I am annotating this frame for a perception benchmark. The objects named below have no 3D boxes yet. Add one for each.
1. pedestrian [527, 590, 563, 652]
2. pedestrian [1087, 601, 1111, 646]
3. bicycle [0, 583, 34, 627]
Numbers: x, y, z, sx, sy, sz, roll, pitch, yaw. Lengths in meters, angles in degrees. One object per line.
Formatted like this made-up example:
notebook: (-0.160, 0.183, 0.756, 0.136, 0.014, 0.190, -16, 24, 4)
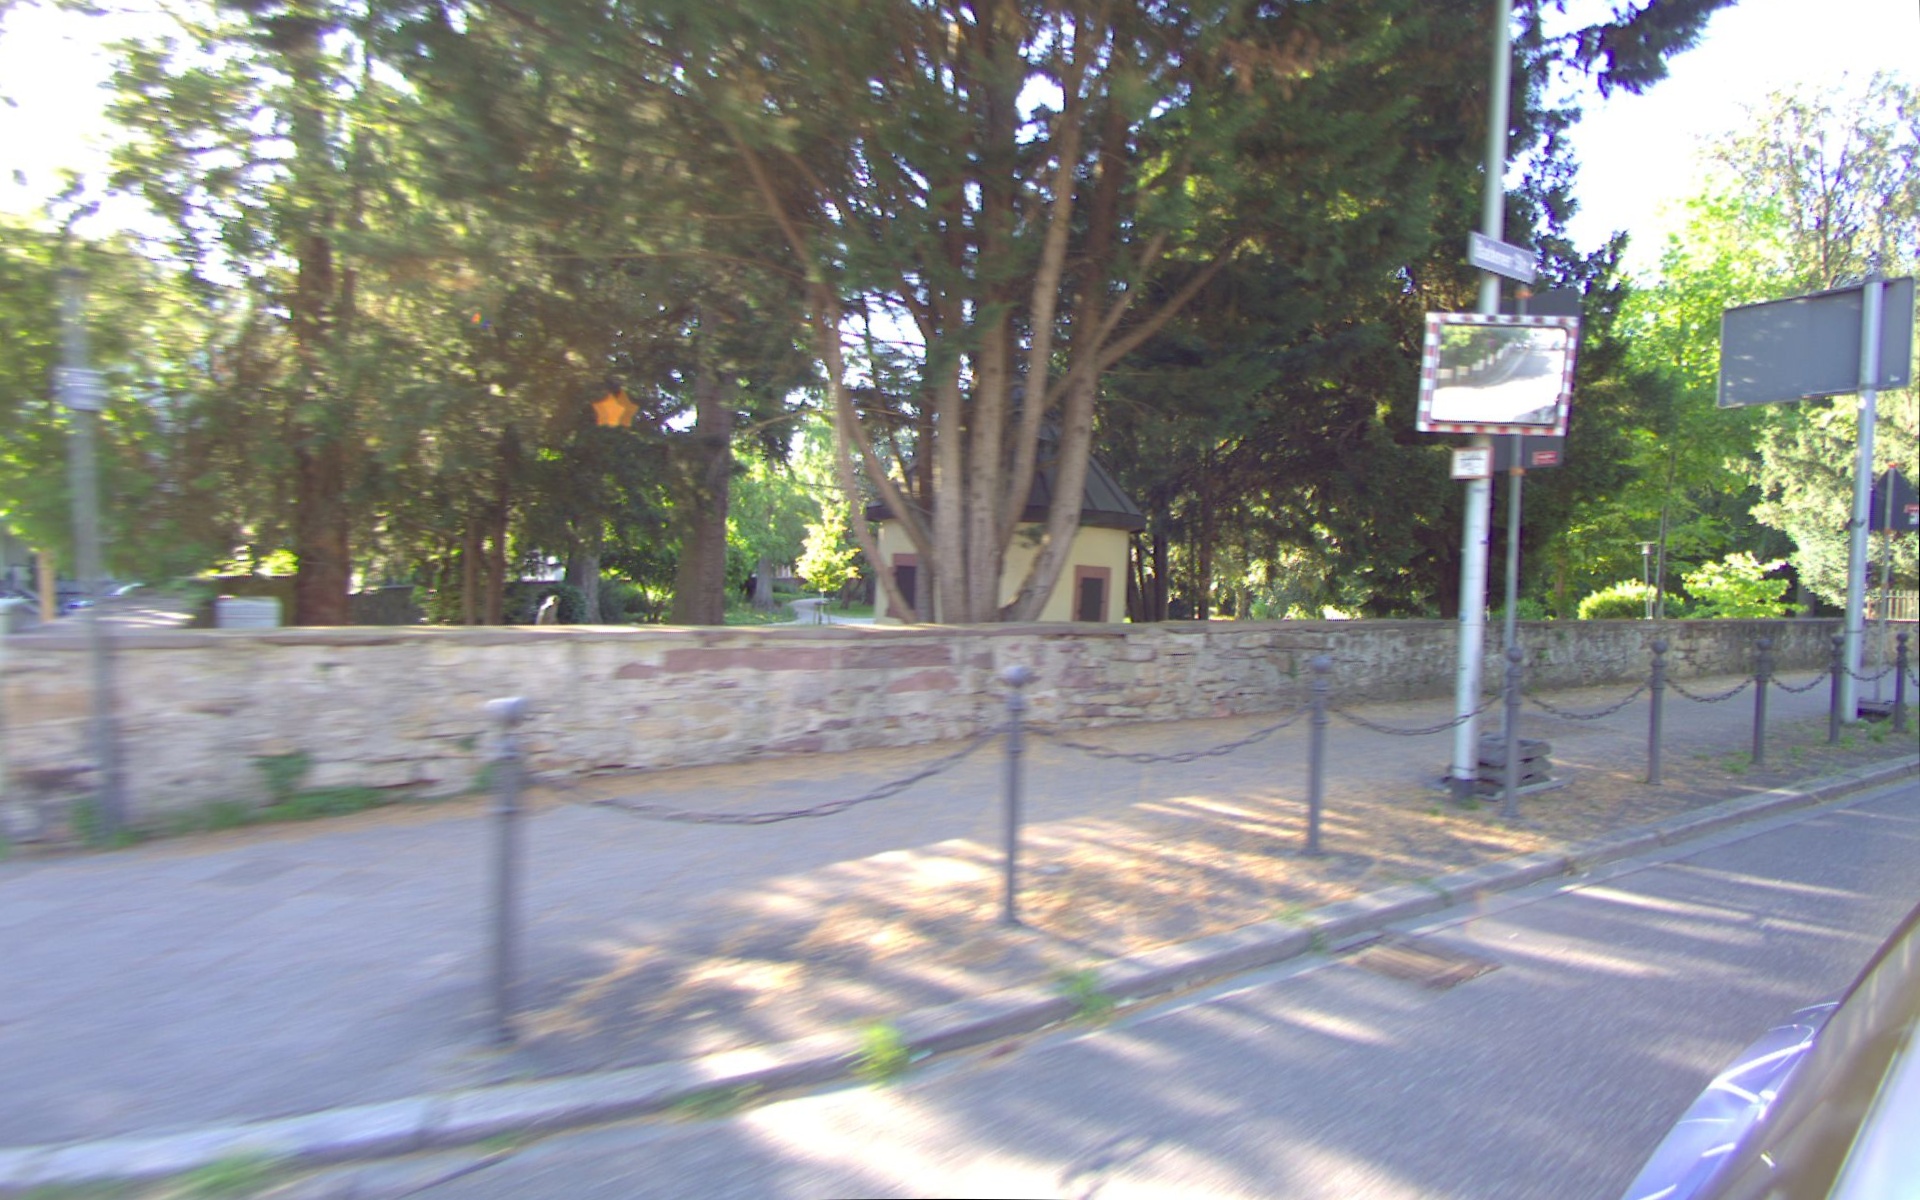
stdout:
pedestrian: (-9.939, 0.486, 24.225, 0.662, 1.470, 0.602, 0, 0, -37)
pedestrian: (5.169, 0.877, 37.732, 0.624, 1.661, 0.617, 0, 0, -32)
bicycle: (-28.412, 0.153, 29.227, 0.748, 1.222, 2.844, 5, 0, -3)
